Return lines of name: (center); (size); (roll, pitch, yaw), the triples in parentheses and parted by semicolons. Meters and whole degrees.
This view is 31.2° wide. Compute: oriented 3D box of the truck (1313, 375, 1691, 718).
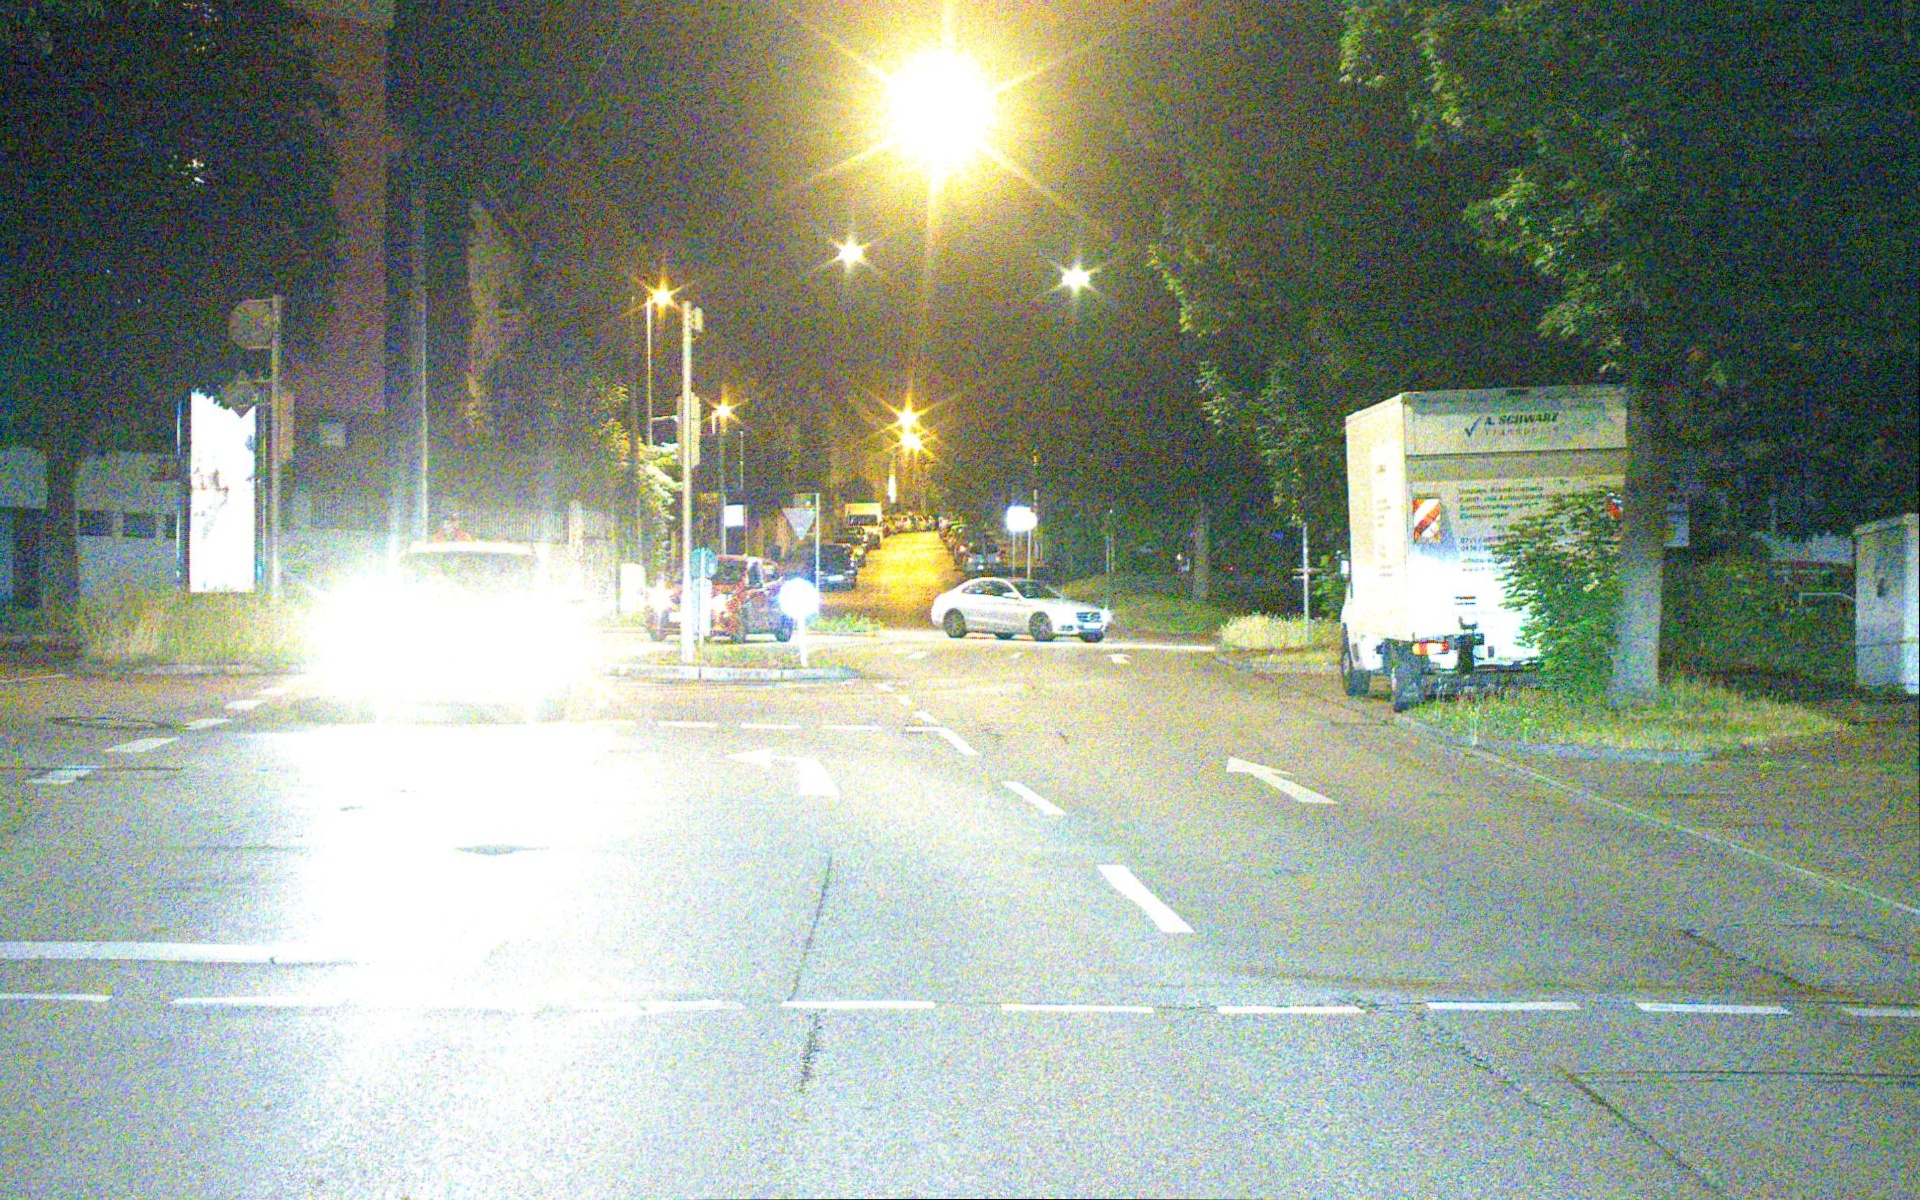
truck: (5.280, -0.537, 34.586); (2.749, 3.100, 6.258); (1, 1, 0)

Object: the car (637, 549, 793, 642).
car: (-4.131, -0.103, 58.337); (1.583, 1.496, 3.393); (1, 1, 16)

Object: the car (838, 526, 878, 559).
car: (-4.790, -2.699, 160.636); (1.815, 1.486, 4.000); (1, 1, -2)

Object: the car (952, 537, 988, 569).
car: (0.453, -2.170, 159.347); (1.634, 1.447, 3.485); (1, 1, -1)

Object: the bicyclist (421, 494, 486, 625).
bicyclist: (-6.423, -0.514, 43.659); (0.690, 1.631, 0.896); (1, 0, -1)

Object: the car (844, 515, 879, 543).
car: (-5.370, -3.834, 187.017); (1.815, 1.486, 4.001); (1, 1, -2)

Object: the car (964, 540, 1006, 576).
car: (1.030, -1.753, 143.430); (1.634, 1.447, 3.485); (1, 1, -1)

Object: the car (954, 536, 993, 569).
car: (0.590, -2.116, 153.162); (1.634, 1.447, 3.485); (1, 1, -1)

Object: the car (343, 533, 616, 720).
car: (-4.208, 0.191, 30.673); (1.857, 1.529, 4.028); (1, 1, 0)

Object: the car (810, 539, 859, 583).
car: (-4.896, -1.531, 134.516); (1.815, 1.678, 4.000); (1, 1, -1)

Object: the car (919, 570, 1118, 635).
car: (1.312, 0.043, 78.860); (1.917, 1.384, 4.580); (0, 1, -42)

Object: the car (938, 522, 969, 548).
car: (-0.368, -3.609, 191.547); (1.634, 1.447, 3.485); (1, 1, -1)

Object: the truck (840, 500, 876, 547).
truck: (-6.216, -4.652, 209.647); (2.086, 2.838, 5.832); (1, 1, -2)
